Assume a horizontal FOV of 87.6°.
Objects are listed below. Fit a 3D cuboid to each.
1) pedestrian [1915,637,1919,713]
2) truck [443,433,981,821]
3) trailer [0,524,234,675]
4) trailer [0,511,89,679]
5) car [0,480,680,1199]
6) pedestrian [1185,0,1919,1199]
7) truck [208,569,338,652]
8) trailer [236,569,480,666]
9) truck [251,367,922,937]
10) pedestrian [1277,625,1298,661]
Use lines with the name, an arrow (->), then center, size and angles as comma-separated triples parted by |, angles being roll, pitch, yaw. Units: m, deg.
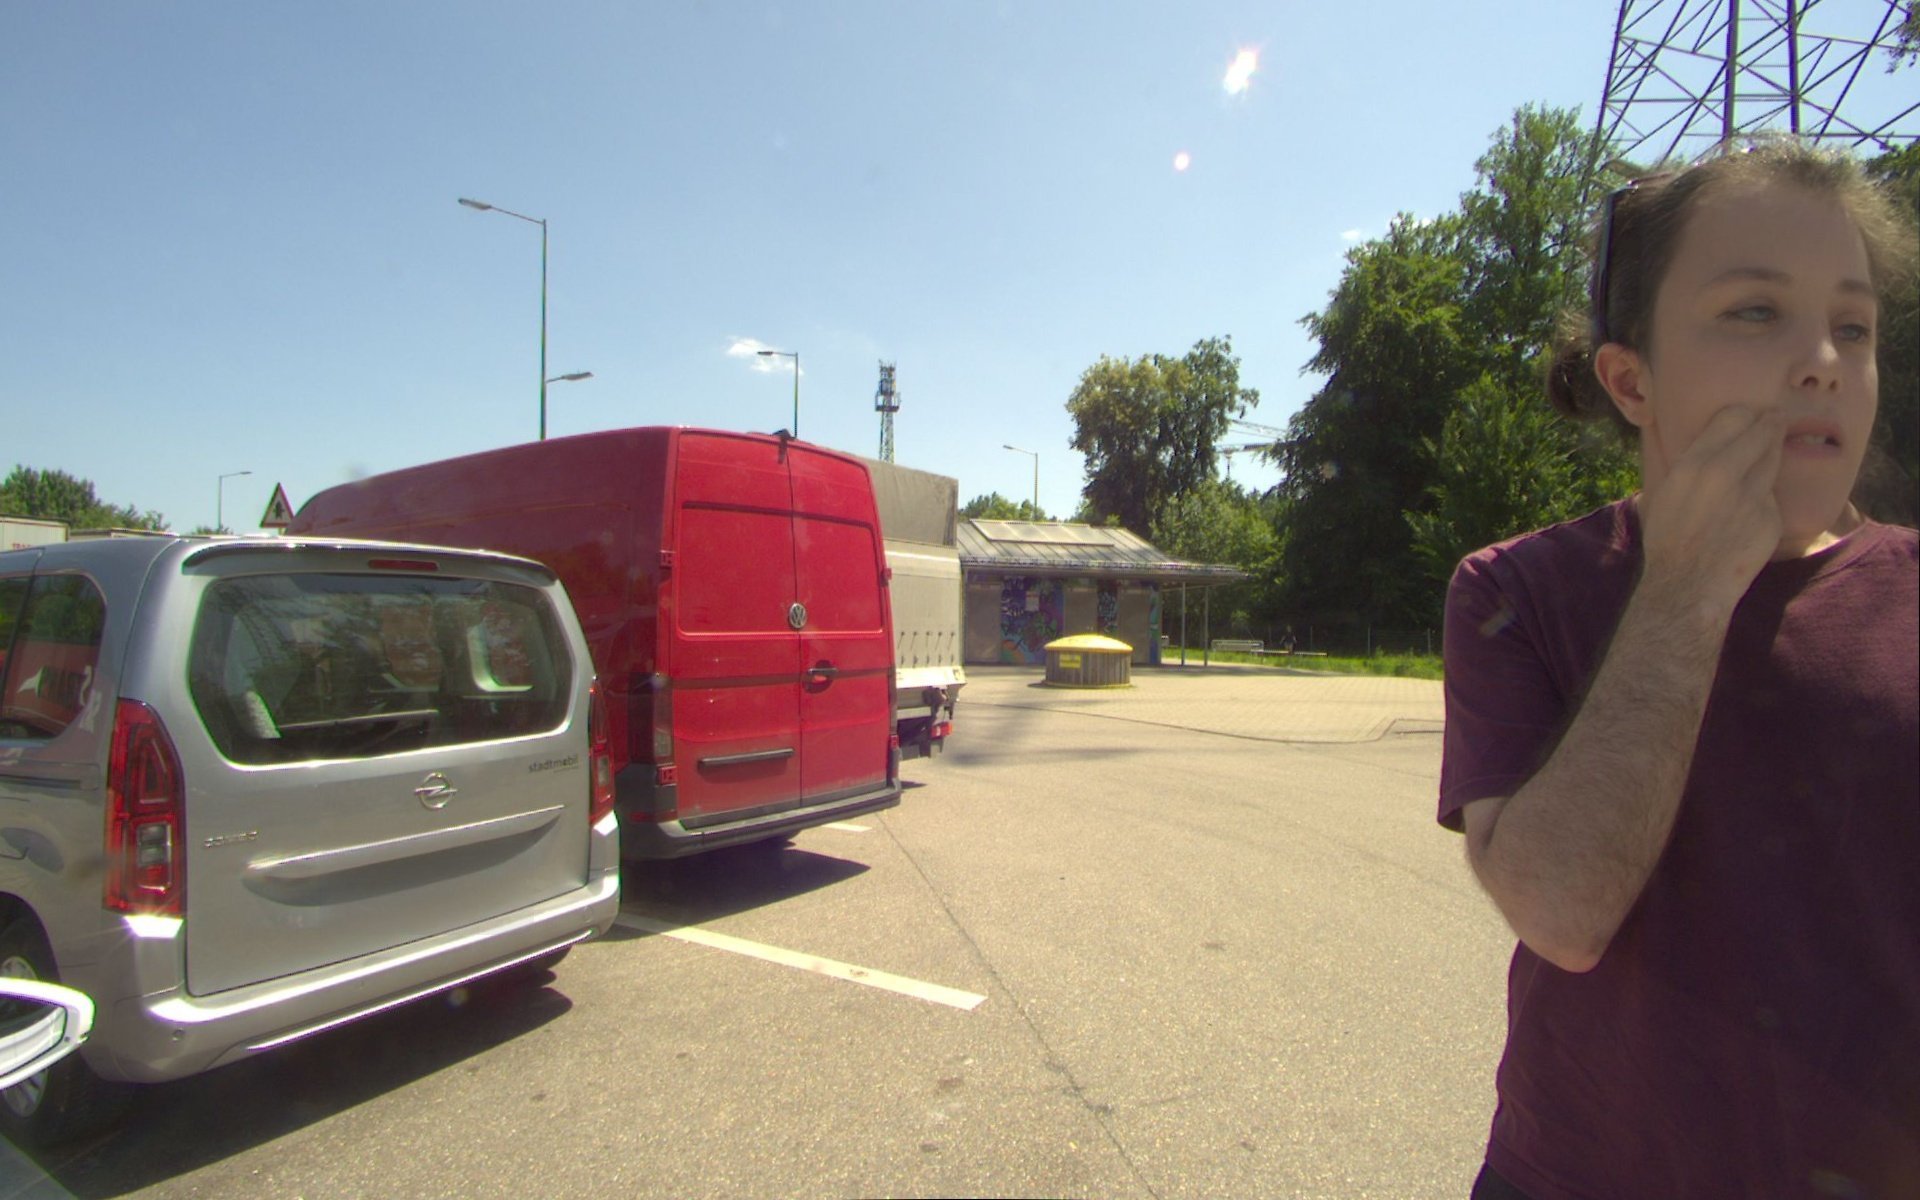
pedestrian -> 17.247, 1.322, 17.493 | 0.690, 1.352, 0.561 | -1, -1, 33
truck -> -2.747, 0.301, 10.298 | 5.581, 2.949, 2.449 | -2, -2, 37
trailer -> -27.966, -0.112, 31.793 | 14.184, 4.040, 2.808 | 2, -2, 33
trailer -> -29.029, -0.270, 28.147 | 14.184, 4.040, 2.808 | 2, -2, 33
car -> -3.390, 0.683, 4.260 | 4.113, 1.887, 1.868 | 1, -2, 31
pedestrian -> 0.744, 0.544, 0.946 | 0.847, 1.857, 0.861 | 0, -1, -1
truck -> -32.111, 0.455, 46.765 | 5.813, 3.566, 2.799 | 2, -2, 32
trailer -> -26.115, 0.635, 42.908 | 14.184, 3.552, 2.808 | 2, -2, 33
truck -> -2.897, 0.334, 7.059 | 5.238, 2.655, 1.972 | -2, -2, 37
pedestrian -> 15.220, 1.998, 46.524 | 0.723, 1.658, 0.792 | 0, -1, 4
